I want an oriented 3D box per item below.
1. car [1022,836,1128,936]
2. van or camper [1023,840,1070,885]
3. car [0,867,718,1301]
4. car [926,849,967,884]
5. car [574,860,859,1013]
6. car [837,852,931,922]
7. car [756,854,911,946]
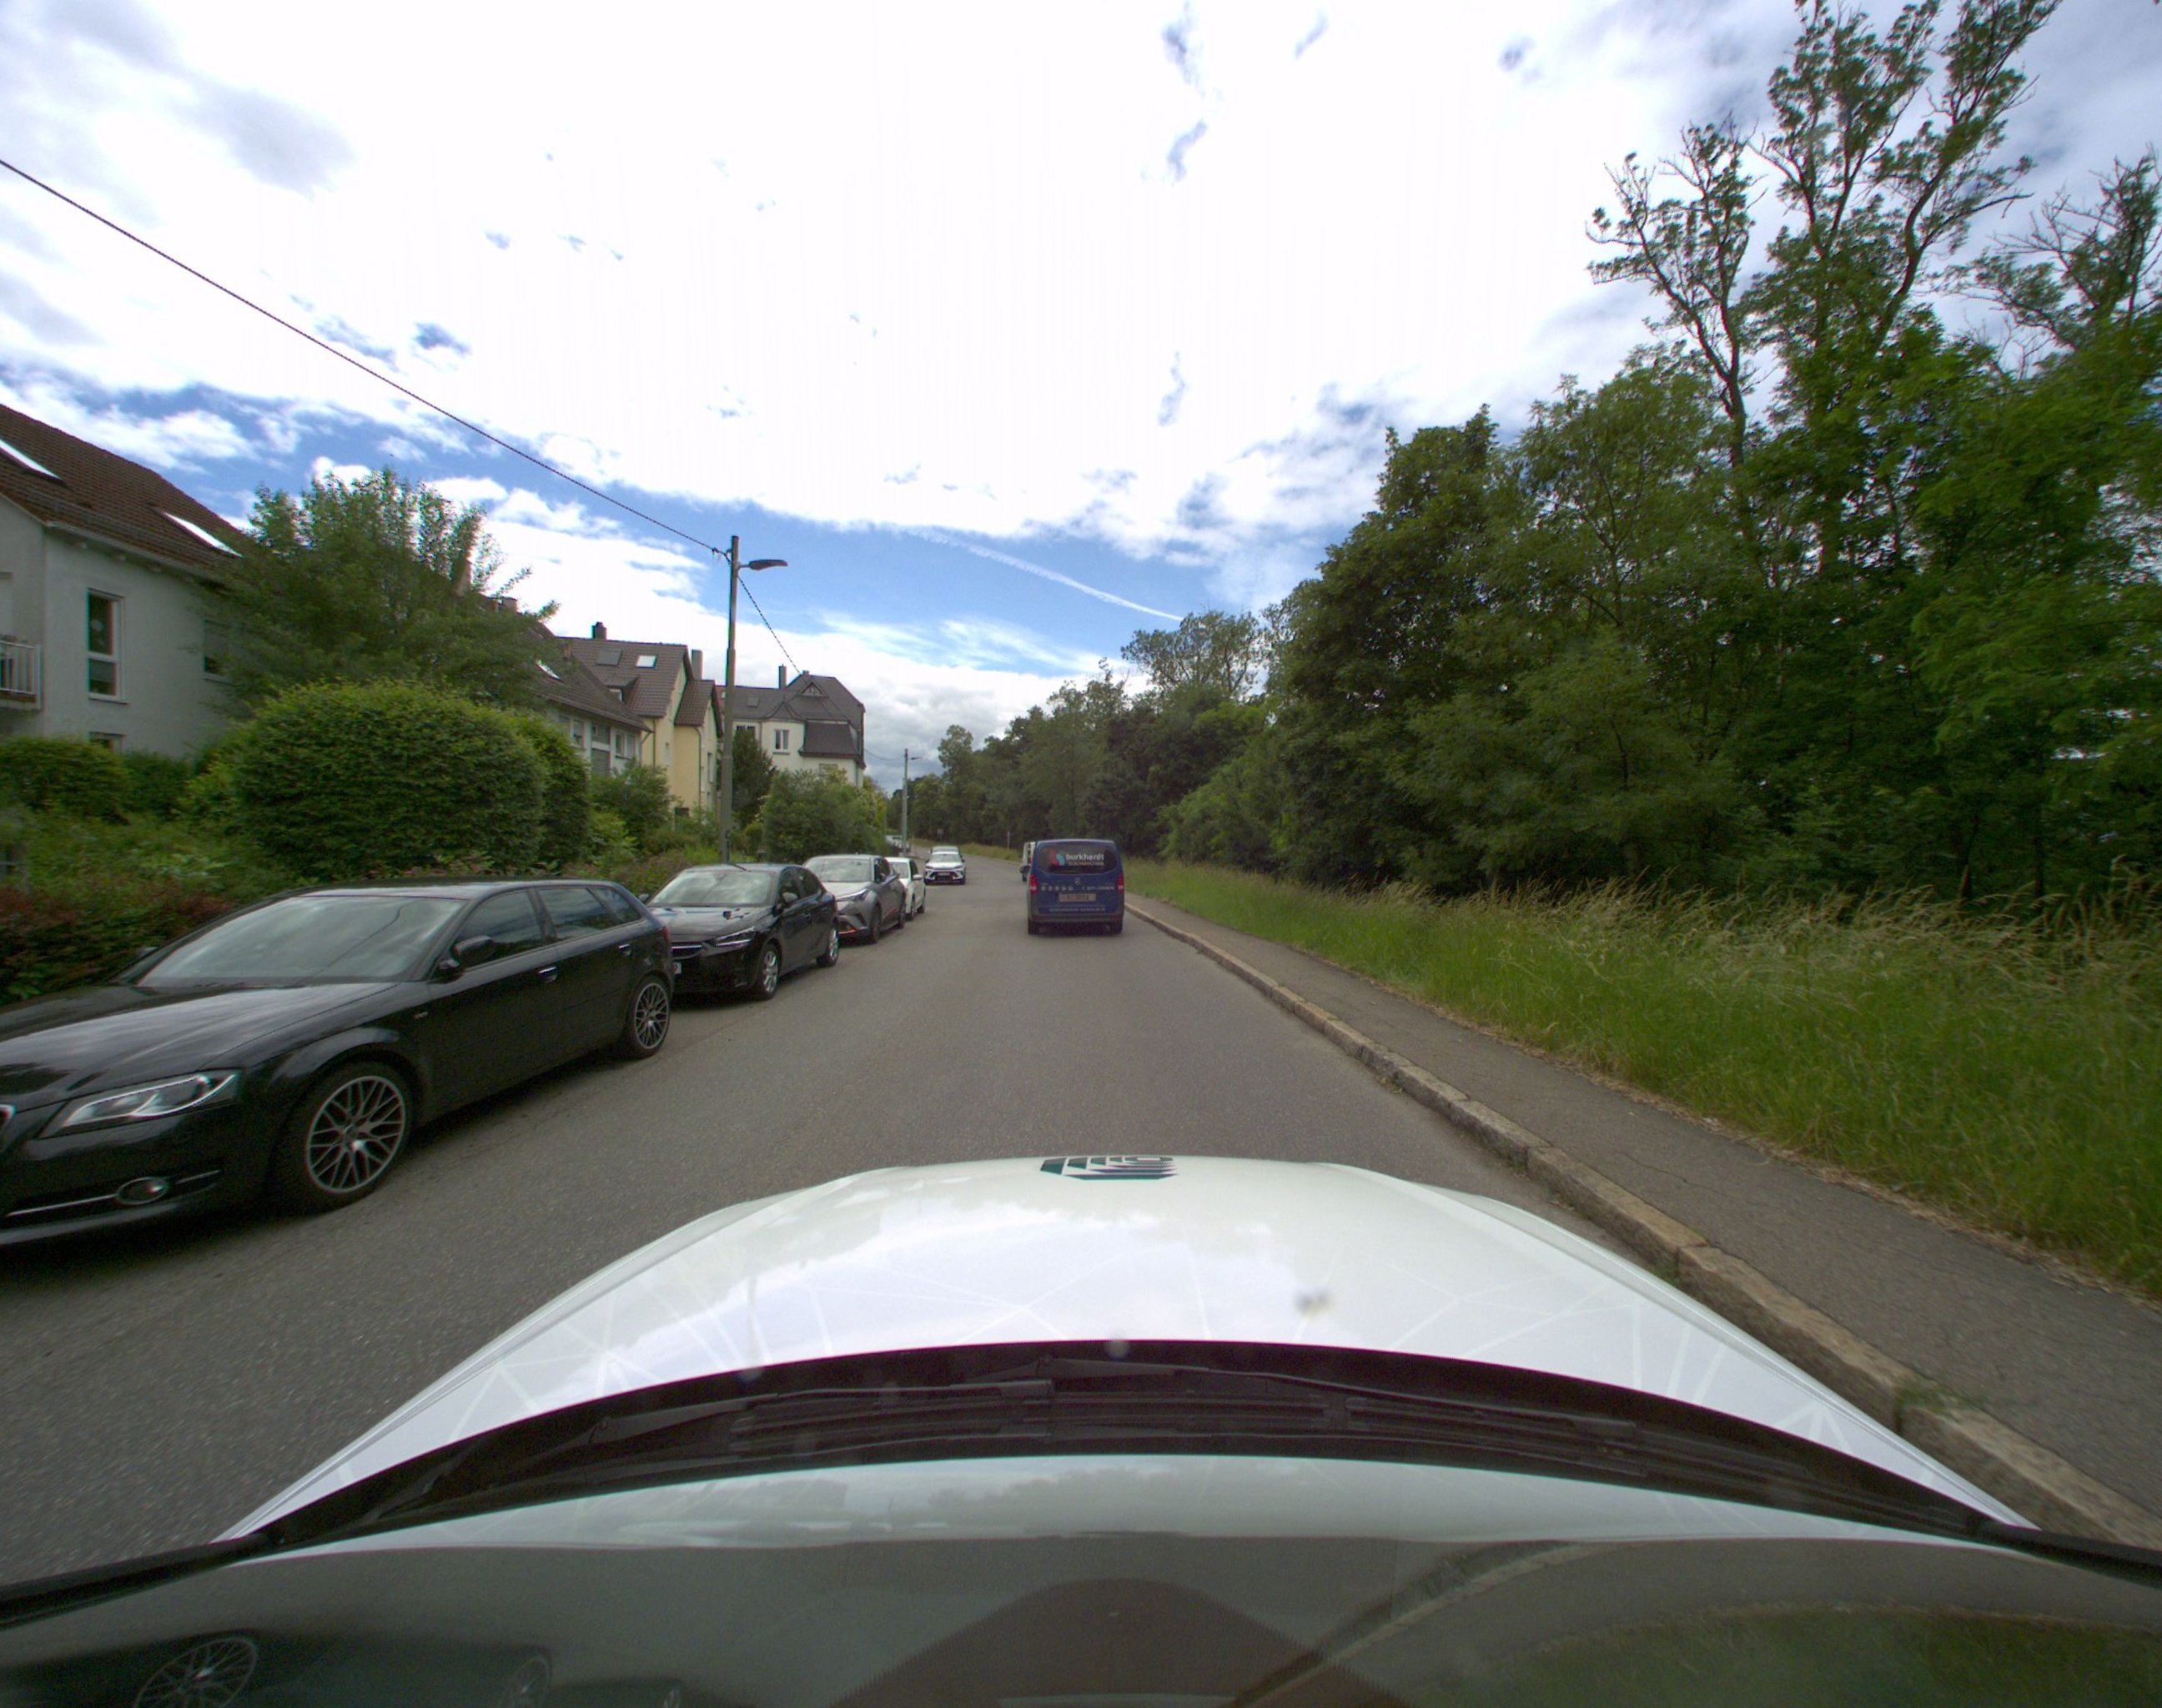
[{"bbox_3d":[-0.260,0.589,17.254,1.910,1.837,4.286,0,0,-5],"label":"car"},{"bbox_3d":[-1.691,0.338,38.578,2.016,1.956,4.889,-1,1,-5],"label":"van or camper"},{"bbox_3d":[-4.098,0.829,5.041,1.730,1.418,4.502,0,0,-1],"label":"car"},{"bbox_3d":[-6.263,0.570,38.182,1.723,1.492,4.401,2,0,-8],"label":"car"},{"bbox_3d":[-4.086,0.811,9.994,1.645,1.441,4.329,0,0,-2],"label":"car"},{"bbox_3d":[-4.677,0.728,19.810,1.620,1.480,3.920,2,0,-5],"label":"car"},{"bbox_3d":[-4.441,0.757,15.279,1.757,1.480,4.124,0,0,-2],"label":"car"}]
